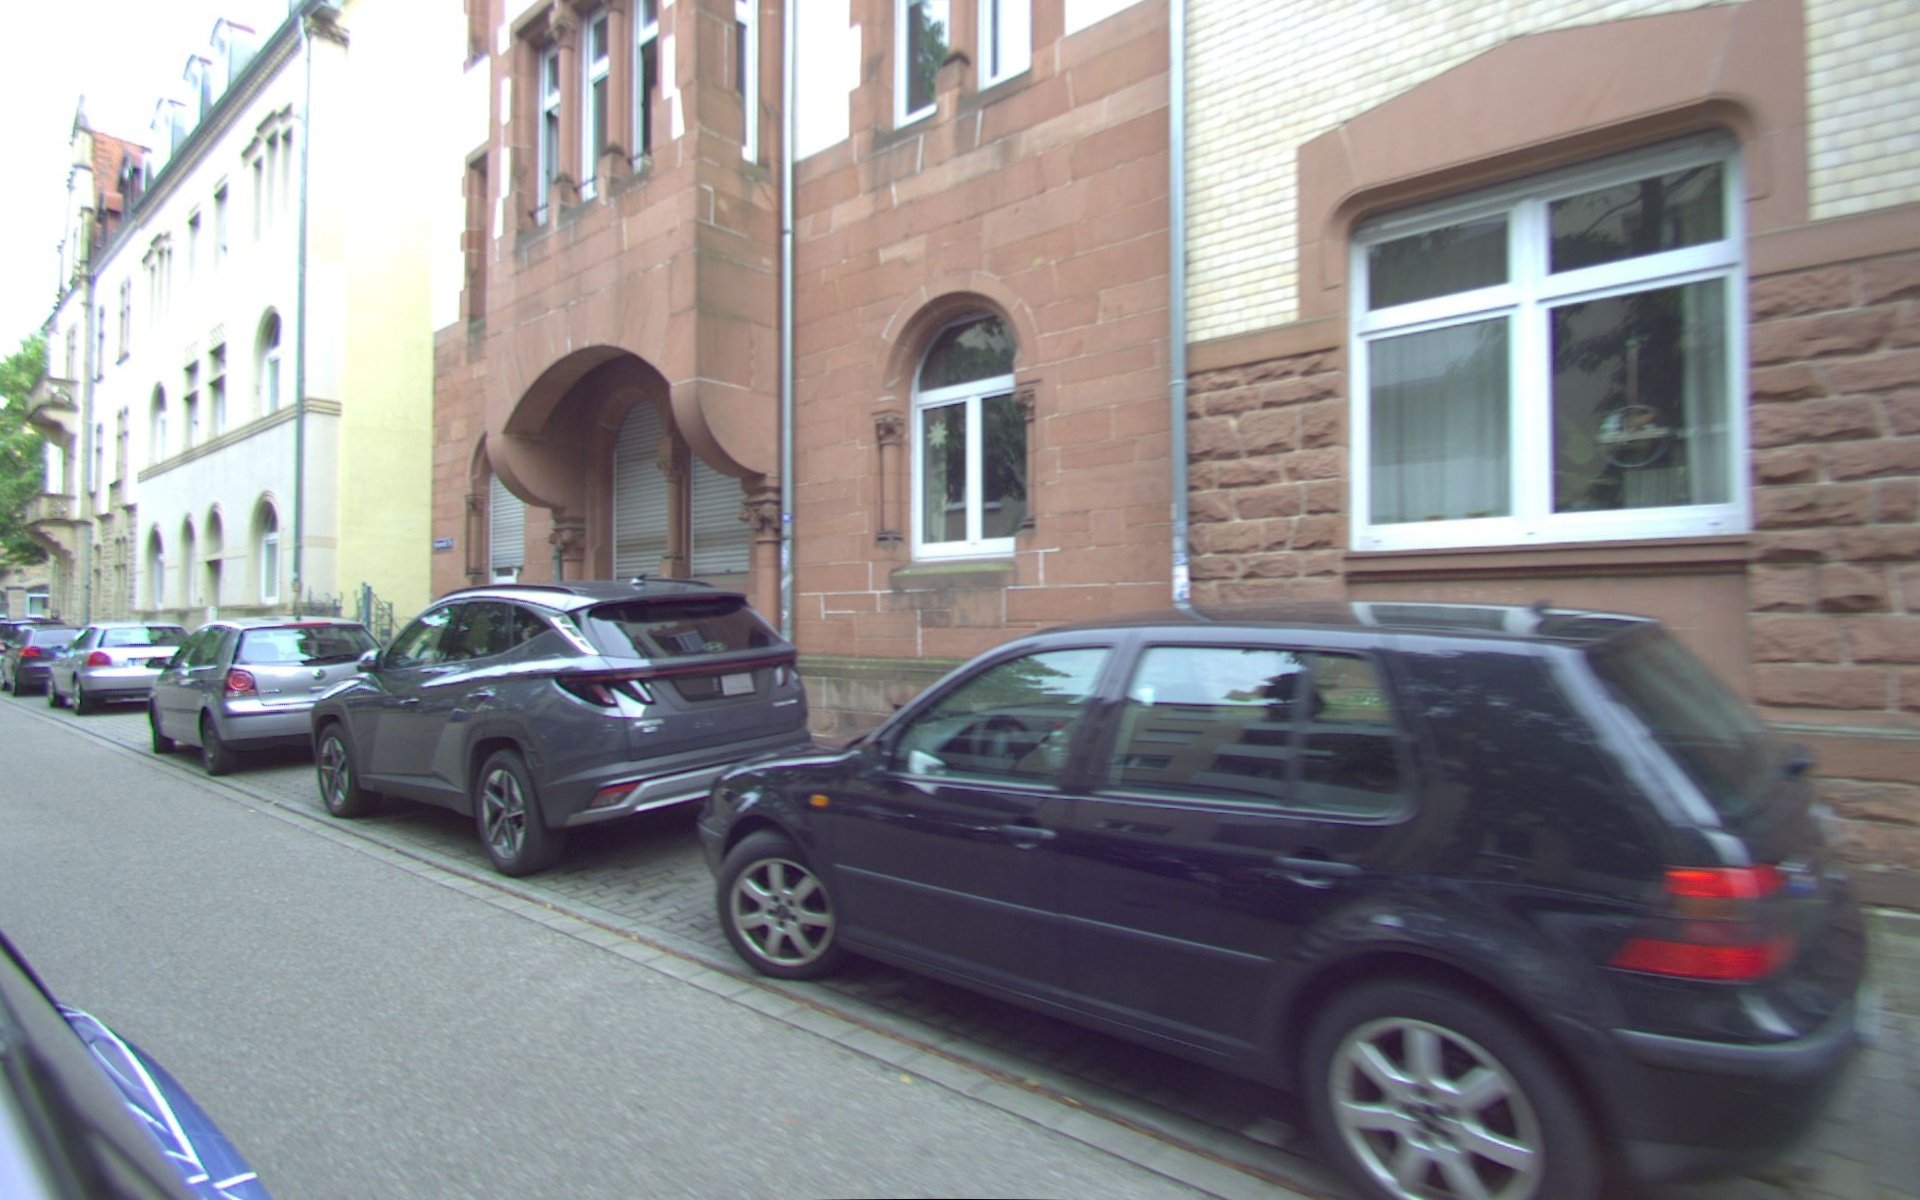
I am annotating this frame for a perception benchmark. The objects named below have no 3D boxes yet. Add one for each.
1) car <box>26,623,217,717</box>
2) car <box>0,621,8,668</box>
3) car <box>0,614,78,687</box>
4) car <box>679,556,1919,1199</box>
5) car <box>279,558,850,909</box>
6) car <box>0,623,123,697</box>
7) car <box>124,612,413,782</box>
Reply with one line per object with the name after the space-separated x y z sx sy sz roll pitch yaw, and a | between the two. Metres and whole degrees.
-14.095 1.097 16.935 4.133 1.397 1.709 -2 -2 40 | car
-33.067 1.506 33.655 3.999 1.506 1.691 -2 1 42 | car
-22.424 1.197 24.138 2.954 1.582 1.630 -3 0 40 | car
0.837 0.662 3.583 3.998 1.484 1.618 0 0 41 | car
-2.938 0.671 6.987 4.359 1.659 1.768 -2 2 41 | car
-19.027 1.216 21.237 3.928 1.397 1.708 -2 -2 42 | car
-7.481 0.901 10.799 3.928 1.431 1.645 -2 0 42 | car
